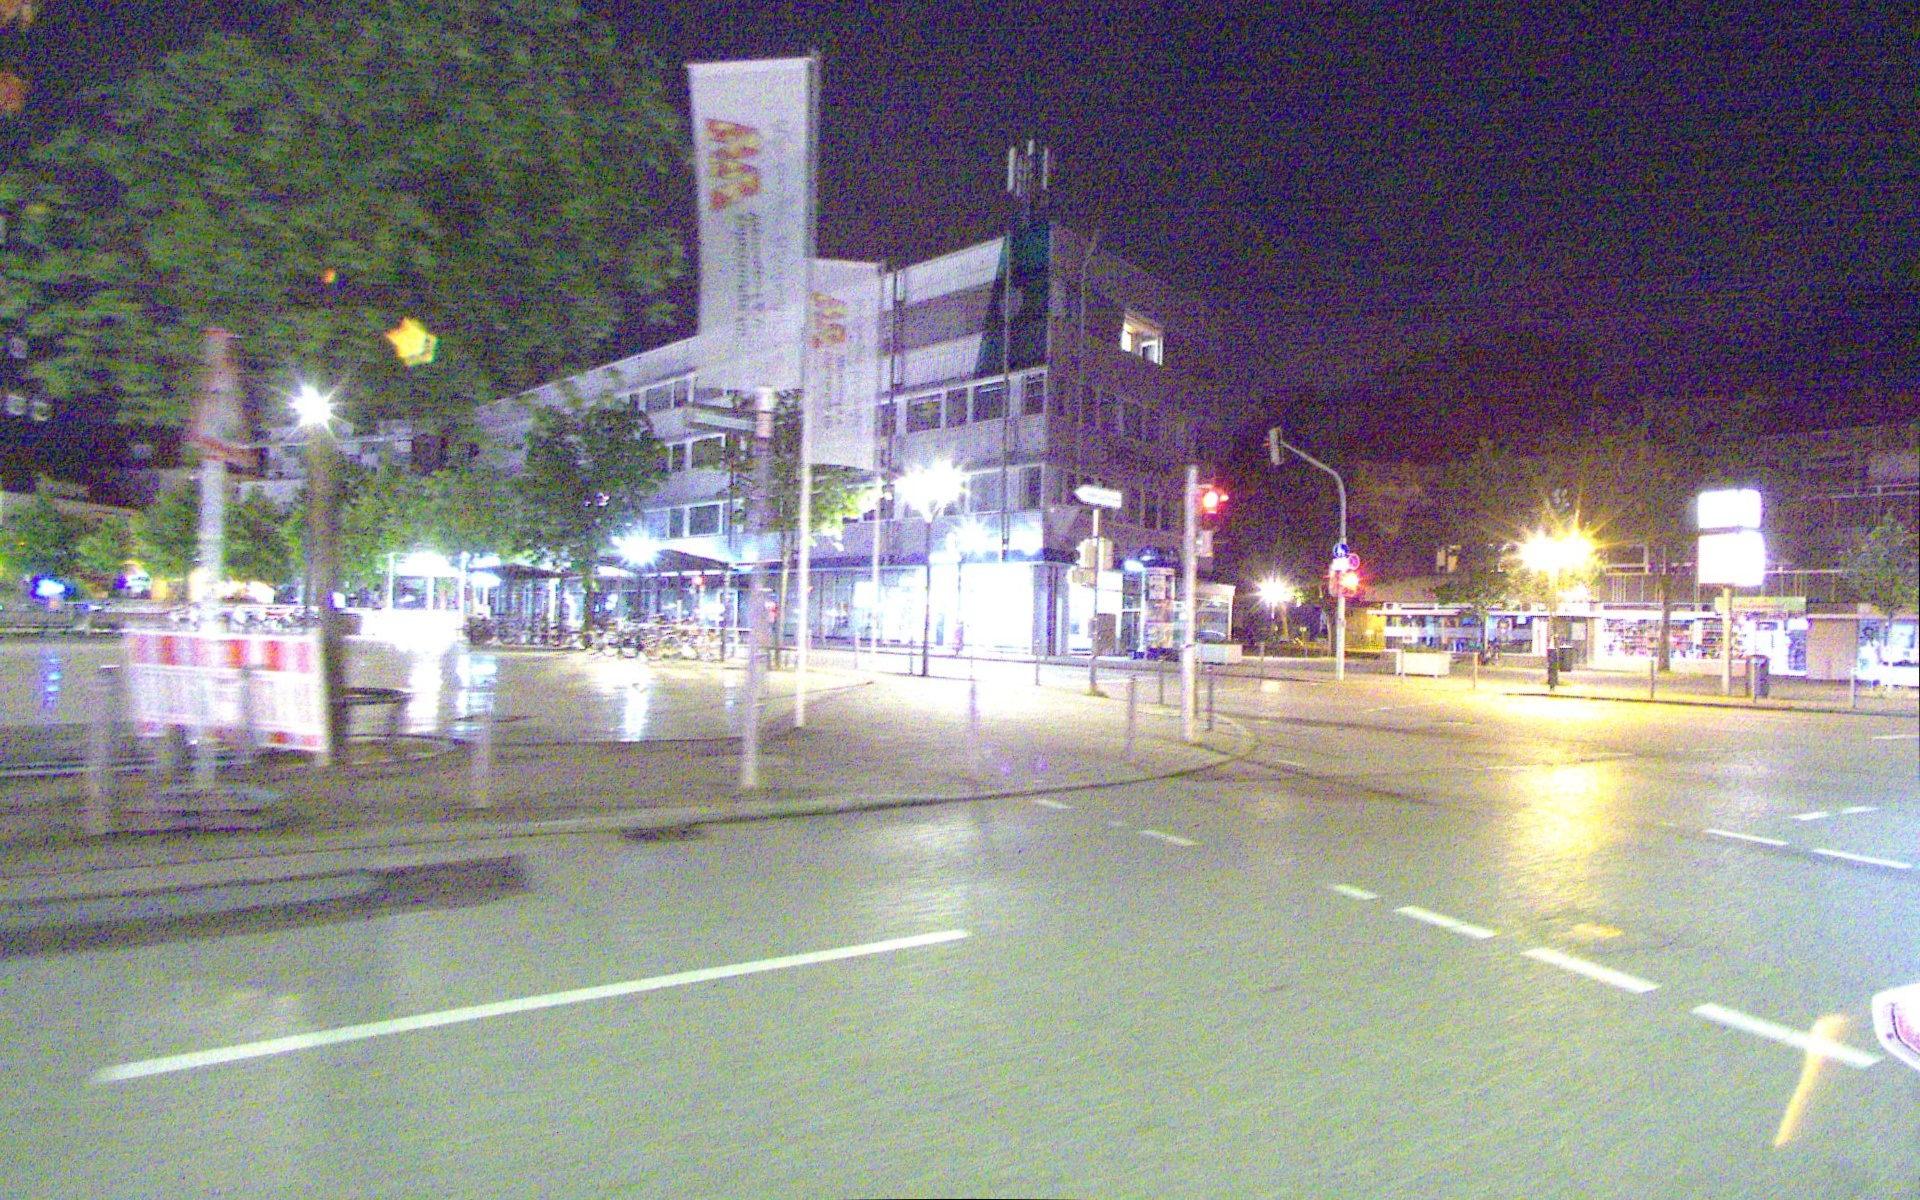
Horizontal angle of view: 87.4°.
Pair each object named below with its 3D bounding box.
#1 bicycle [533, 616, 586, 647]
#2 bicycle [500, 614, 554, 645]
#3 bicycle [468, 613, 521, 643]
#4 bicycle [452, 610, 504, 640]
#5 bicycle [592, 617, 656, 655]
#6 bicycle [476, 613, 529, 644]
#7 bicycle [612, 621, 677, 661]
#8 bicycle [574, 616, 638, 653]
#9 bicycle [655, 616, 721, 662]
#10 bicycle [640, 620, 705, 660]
[{"bbox_3d":[-12.962,1.011,32.532,0.473,0.970,1.525,2,0,44],"label":"bicycle"},{"bbox_3d":[-14.040,0.972,32.597,0.473,0.970,1.525,2,0,44],"label":"bicycle"},{"bbox_3d":[-15.653,0.962,33.818,0.473,0.970,1.525,2,0,44],"label":"bicycle"},{"bbox_3d":[-16.474,0.859,34.329,0.473,0.970,1.525,2,0,44],"label":"bicycle"},{"bbox_3d":[-8.778,0.944,26.264,0.473,0.970,1.525,2,0,44],"label":"bicycle"},{"bbox_3d":[-15.107,0.952,33.183,0.473,0.970,1.525,2,0,44],"label":"bicycle"},{"bbox_3d":[-8.021,1.039,25.566,0.473,0.970,1.525,2,0,44],"label":"bicycle"},{"bbox_3d":[-9.457,0.924,26.864,0.473,0.970,1.525,2,0,44],"label":"bicycle"},{"bbox_3d":[-6.579,0.941,24.364,0.440,1.068,1.525,2,0,44],"label":"bicycle"},{"bbox_3d":[-7.164,1.002,25.106,0.440,0.970,1.525,2,0,44],"label":"bicycle"}]
